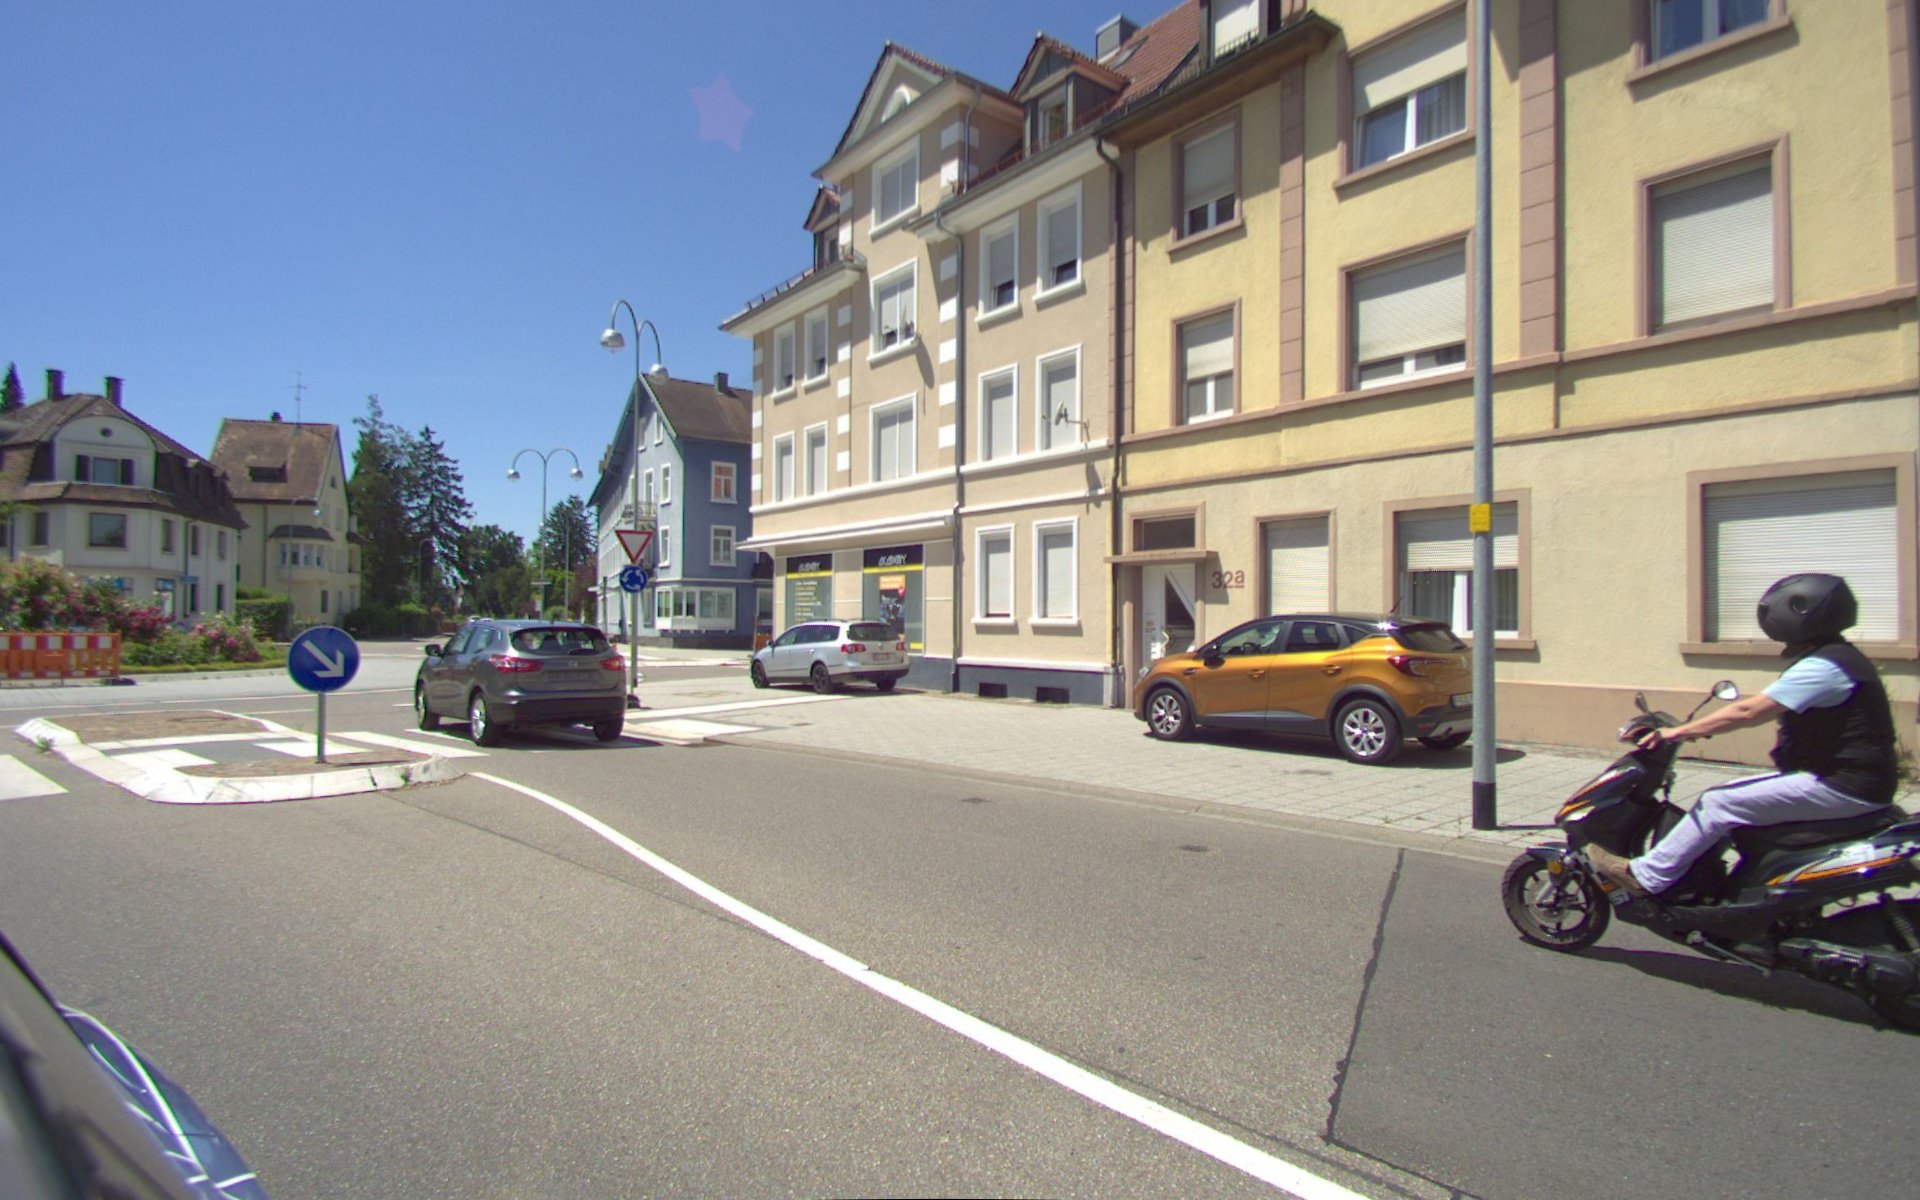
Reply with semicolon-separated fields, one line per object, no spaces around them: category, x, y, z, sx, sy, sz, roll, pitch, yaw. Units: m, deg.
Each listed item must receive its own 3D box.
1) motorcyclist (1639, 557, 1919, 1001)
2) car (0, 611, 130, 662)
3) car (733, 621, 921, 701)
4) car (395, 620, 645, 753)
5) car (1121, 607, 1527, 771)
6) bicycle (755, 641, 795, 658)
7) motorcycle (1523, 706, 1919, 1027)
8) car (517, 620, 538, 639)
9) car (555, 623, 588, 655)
motorcyclist;3.316;0.635;4.007;0.594;1.536;0.897;2;-3;-40
car;-32.735;1.316;36.250;4.492;1.750;2.005;2;-3;-36
car;-2.998;1.243;21.809;1.771;1.514;4.956;1;-2;-38
car;-6.119;1.065;13.791;1.774;1.500;4.396;5;-4;-42
car;4.025;0.908;11.807;1.771;1.553;4.123;0;-2;-38
bicycle;-10.142;2.707;55.547;2.052;0.918;0.614;2;-3;-37
motorcycle;3.318;0.991;4.004;0.598;1.008;1.802;2;-3;-40
car;-47.244;3.178;110.661;1.965;1.861;4.013;1;1;-22
car;-25.524;2.515;66.462;1.965;1.861;4.013;1;1;-22
